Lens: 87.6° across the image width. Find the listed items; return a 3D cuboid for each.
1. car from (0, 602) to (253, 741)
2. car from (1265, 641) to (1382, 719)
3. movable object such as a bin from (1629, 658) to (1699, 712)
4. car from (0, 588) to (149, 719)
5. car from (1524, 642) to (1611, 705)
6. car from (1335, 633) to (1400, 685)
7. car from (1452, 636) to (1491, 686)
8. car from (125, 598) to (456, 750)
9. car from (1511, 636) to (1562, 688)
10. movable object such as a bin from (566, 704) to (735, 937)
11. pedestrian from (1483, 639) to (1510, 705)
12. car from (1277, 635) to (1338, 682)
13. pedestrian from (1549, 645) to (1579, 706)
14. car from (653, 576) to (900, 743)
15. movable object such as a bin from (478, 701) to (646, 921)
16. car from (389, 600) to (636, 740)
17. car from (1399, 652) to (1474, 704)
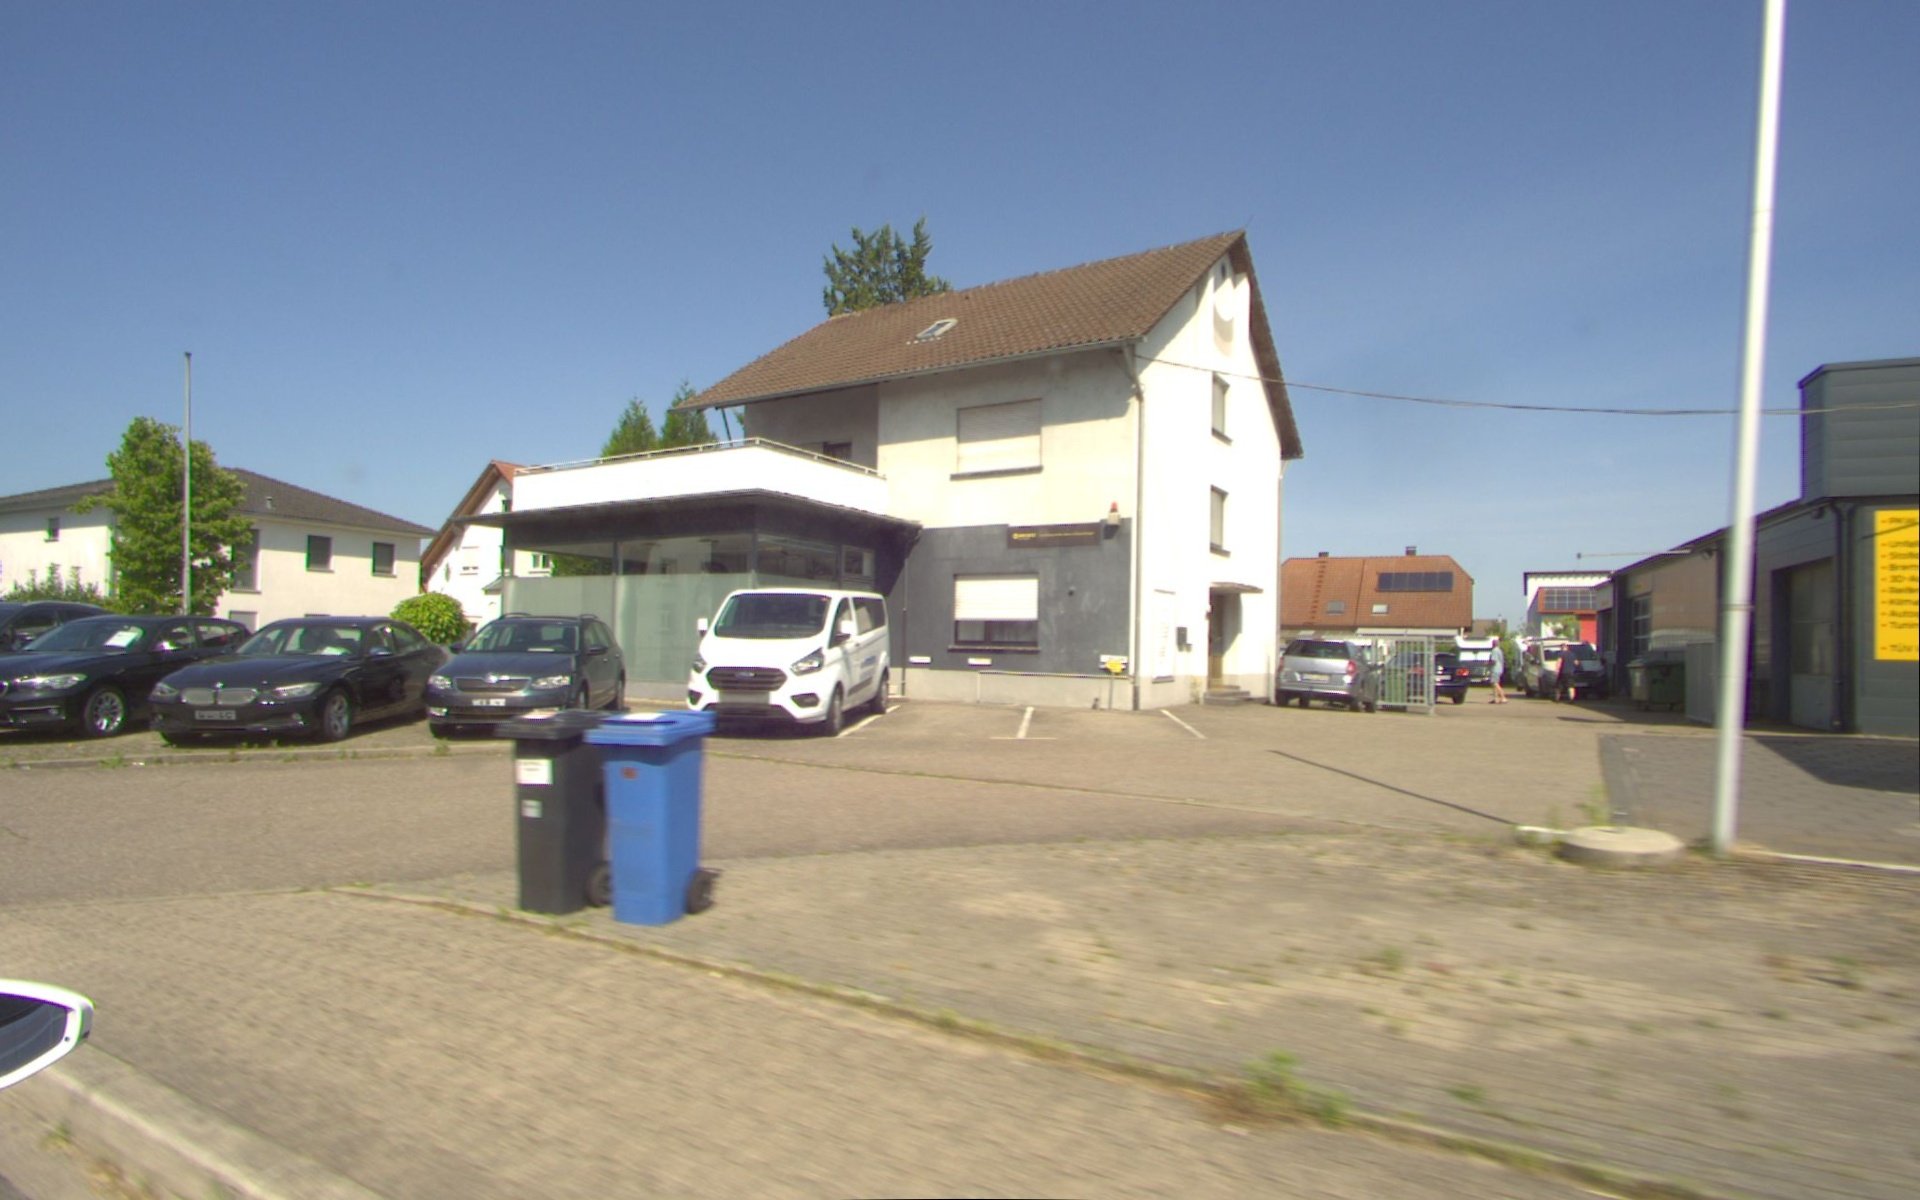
[{"bbox_3d":[-10.737,0.815,12.421,1.718,1.465,3.872,1,-2,-11],"label":"car"},{"bbox_3d":[7.935,1.689,21.655,1.784,1.498,4.060,0,-3,29],"label":"car"},{"bbox_3d":[18.020,2.149,25.671,1.257,1.311,1.171,0,-2,25],"label":"movable object such as a bin"},{"bbox_3d":[-13.263,0.695,13.397,1.796,1.674,4.114,1,-2,-7],"label":"car"},{"bbox_3d":[20.319,2.397,33.695,1.902,1.928,5.173,0,-3,24],"label":"car"},{"bbox_3d":[25.113,3.558,61.504,2.729,2.960,7.335,0,-3,30],"label":"car"},{"bbox_3d":[29.418,3.457,57.658,1.763,2.735,5.178,0,-2,24],"label":"car"},{"bbox_3d":[-8.103,0.862,12.682,1.947,1.585,4.237,1,-2,-11],"label":"car"},{"bbox_3d":[32.340,3.441,56.299,1.991,2.735,5.178,0,-2,24],"label":"car"},{"bbox_3d":[-1.436,0.991,4.695,0.506,0.951,0.558,0,-1,23],"label":"movable object such as a bin"},{"bbox_3d":[15.725,2.100,29.341,0.599,1.889,0.503,0,-2,16],"label":"pedestrian"},{"bbox_3d":[22.502,3.741,64.724,2.729,2.834,5.418,0,-3,30],"label":"car"},{"bbox_3d":[17.796,2.210,29.507,0.635,1.769,0.650,0,-2,18],"label":"pedestrian"},{"bbox_3d":[-2.463,0.828,15.105,2.188,2.039,5.288,1,-2,7],"label":"car"},{"bbox_3d":[-1.936,0.994,4.907,0.506,0.948,0.558,0,-1,23],"label":"movable object such as a bin"},{"bbox_3d":[-5.761,0.879,13.537,1.947,1.570,4.317,1,-2,-9],"label":"car"},{"bbox_3d":[14.047,2.308,29.451,1.784,1.392,3.621,0,-5,29],"label":"car"}]
